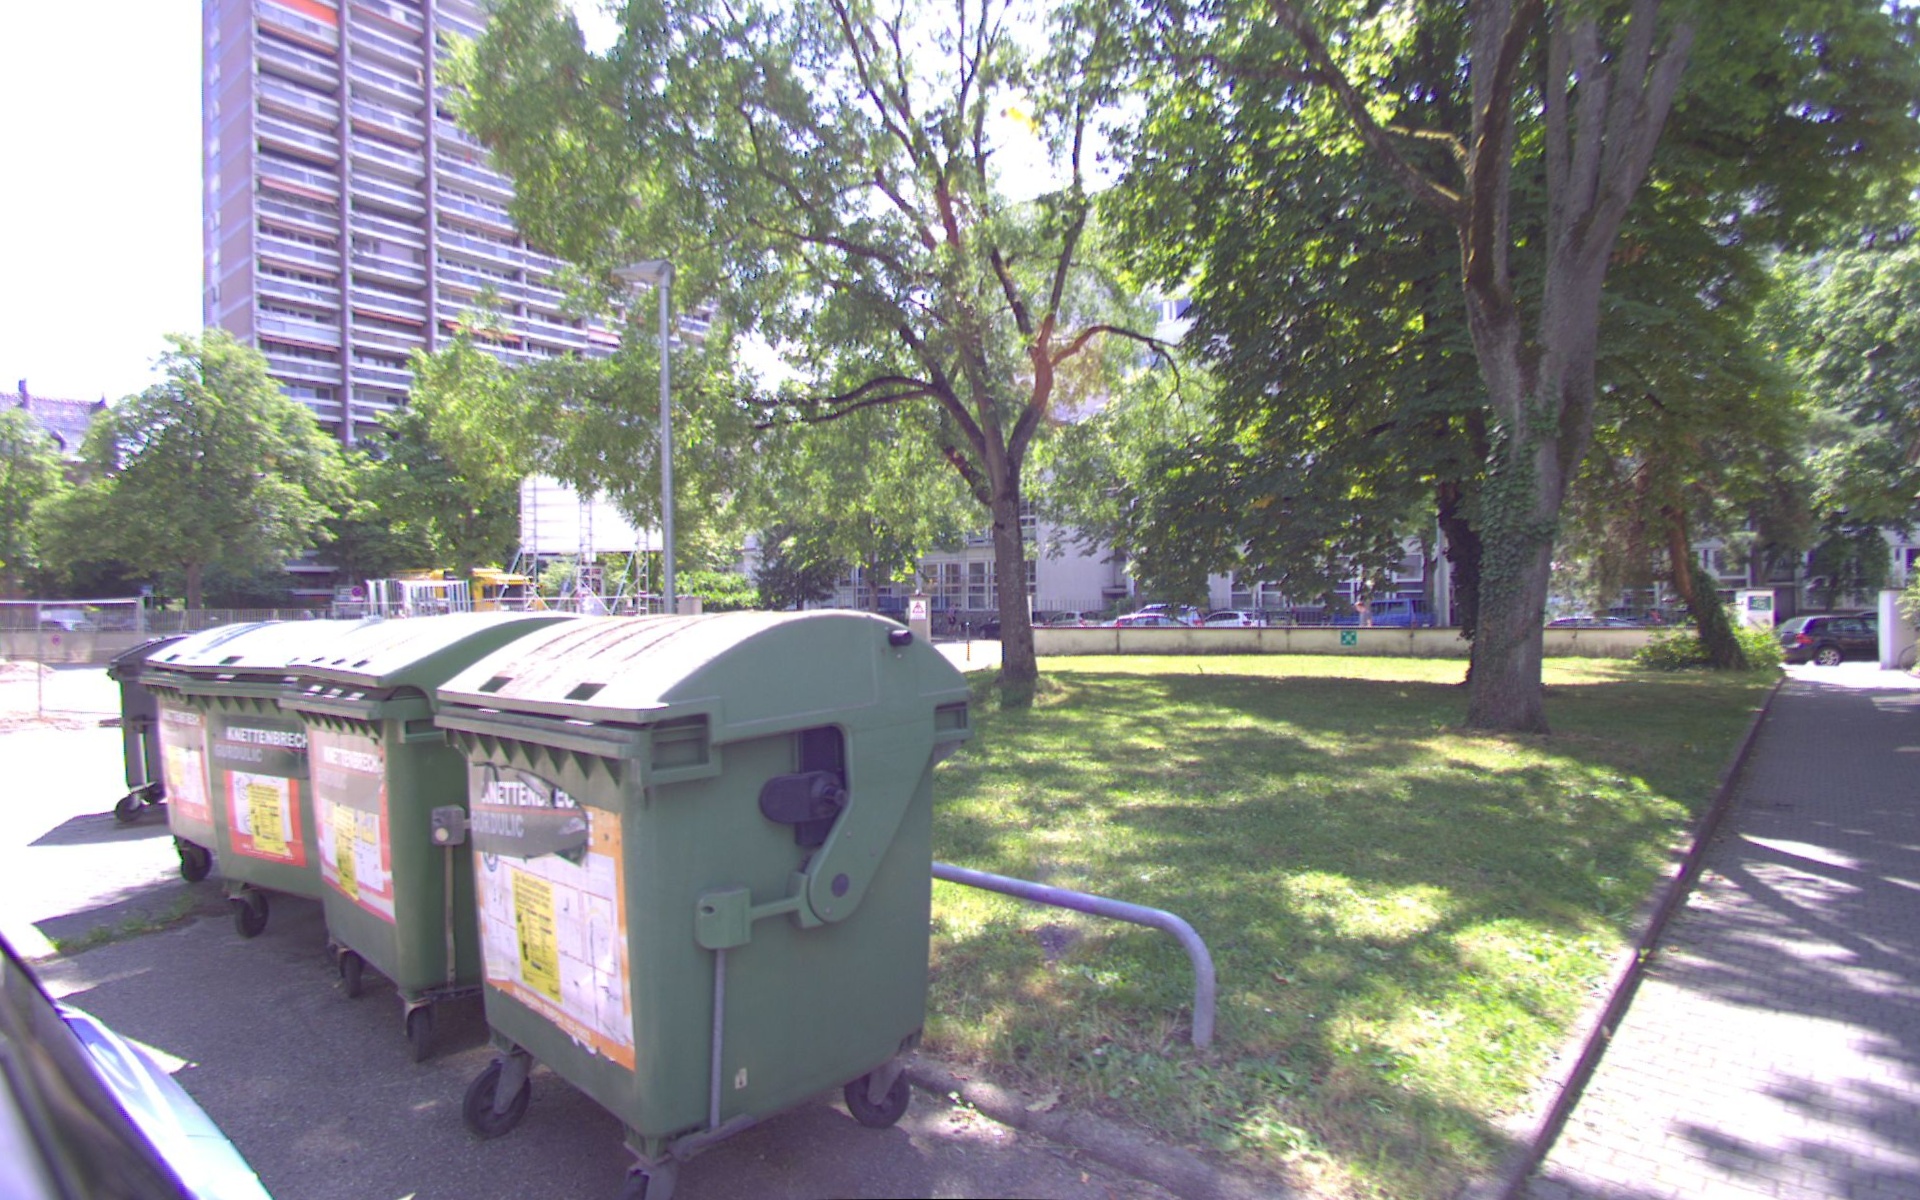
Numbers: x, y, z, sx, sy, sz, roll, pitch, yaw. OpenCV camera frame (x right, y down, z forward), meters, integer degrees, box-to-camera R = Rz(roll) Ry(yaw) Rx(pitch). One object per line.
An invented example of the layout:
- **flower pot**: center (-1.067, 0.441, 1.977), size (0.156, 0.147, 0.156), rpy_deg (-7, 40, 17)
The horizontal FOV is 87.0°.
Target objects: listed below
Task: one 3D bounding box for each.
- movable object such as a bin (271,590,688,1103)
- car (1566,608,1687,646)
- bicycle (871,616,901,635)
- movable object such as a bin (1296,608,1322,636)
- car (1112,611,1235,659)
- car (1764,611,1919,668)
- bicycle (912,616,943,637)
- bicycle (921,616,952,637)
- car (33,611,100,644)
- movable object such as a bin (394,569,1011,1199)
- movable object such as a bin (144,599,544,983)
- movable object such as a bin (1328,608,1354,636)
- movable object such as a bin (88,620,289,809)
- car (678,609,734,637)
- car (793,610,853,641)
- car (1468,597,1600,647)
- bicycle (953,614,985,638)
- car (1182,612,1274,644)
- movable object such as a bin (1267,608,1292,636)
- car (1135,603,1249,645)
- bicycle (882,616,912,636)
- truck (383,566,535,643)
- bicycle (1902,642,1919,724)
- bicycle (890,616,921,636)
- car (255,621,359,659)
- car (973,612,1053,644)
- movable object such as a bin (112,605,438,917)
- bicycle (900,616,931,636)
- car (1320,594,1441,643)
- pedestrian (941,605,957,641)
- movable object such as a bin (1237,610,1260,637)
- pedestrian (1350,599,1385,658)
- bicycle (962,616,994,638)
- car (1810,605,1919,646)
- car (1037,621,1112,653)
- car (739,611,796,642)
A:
- **movable object such as a bin**: center (-1.802, 0.728, 3.770), size (1.262, 1.490, 1.032), rpy_deg (-1, -1, 44)
- **car**: center (27.988, 1.105, 42.633), size (1.642, 1.497, 4.013), rpy_deg (0, -1, -21)
- **bicycle**: center (-4.331, 1.496, 59.583), size (0.568, 1.139, 1.901), rpy_deg (-1, -1, 41)
- **movable object such as a bin**: center (17.556, 1.121, 50.930), size (1.173, 1.409, 1.030), rpy_deg (-1, -1, 21)
- **car**: center (6.689, 1.119, 31.971), size (3.685, 1.468, 1.584), rpy_deg (0, -3, 10)
- **car**: center (24.409, 1.052, 27.296), size (3.739, 1.455, 1.942), rpy_deg (-1, -1, 16)
- **bicycle**: center (-1.854, 1.484, 57.432), size (0.569, 1.139, 1.915), rpy_deg (-1, -1, 44)
- **bicycle**: center (-1.313, 1.466, 56.855), size (0.569, 1.139, 1.915), rpy_deg (-1, -1, 44)
- **car**: center (-56.837, 1.715, 64.468), size (1.965, 2.029, 4.013), rpy_deg (-1, 0, -21)
- **movable object such as a bin**: center (-0.733, 0.699, 2.772), size (1.409, 1.490, 1.033), rpy_deg (-1, -1, 42)
- **movable object such as a bin**: center (-2.864, 0.756, 4.754), size (1.354, 1.490, 1.086), rpy_deg (-1, -1, 29)
- **movable object such as a bin**: center (19.005, 1.103, 50.474), size (1.173, 1.409, 1.030), rpy_deg (-1, -1, 21)
- **movable object such as a bin**: center (-6.312, 0.876, 8.382), size (1.097, 1.405, 1.164), rpy_deg (0, -1, -25)
- **car**: center (-13.299, 1.205, 52.826), size (1.602, 1.383, 4.034), rpy_deg (0, -1, -33)
- **car**: center (-6.989, 1.288, 51.375), size (1.622, 1.528, 3.586), rpy_deg (0, -1, -33)
- **car**: center (24.609, 0.920, 43.597), size (1.965, 2.029, 4.646), rpy_deg (0, -1, -24)
- **bicycle**: center (0.506, 1.428, 55.981), size (0.569, 1.247, 1.915), rpy_deg (-1, -1, 44)
- **car**: center (12.304, 1.261, 46.721), size (1.686, 1.424, 3.992), rpy_deg (0, -1, -33)
- **movable object such as a bin**: center (16.213, 1.139, 51.347), size (1.173, 1.409, 1.030), rpy_deg (-1, -1, 21)
- **car**: center (9.298, 0.971, 40.865), size (4.352, 1.619, 1.993), rpy_deg (-1, -1, 11)
- **bicycle**: center (-3.681, 1.484, 59.152), size (0.568, 1.139, 1.901), rpy_deg (-1, -1, 41)
- **truck**: center (-28.084, 0.278, 56.537), size (9.706, 4.036, 2.723), rpy_deg (-1, 0, 30)
- **bicycle**: center (11.842, 0.923, 10.987), size (2.253, 0.897, 0.648), rpy_deg (-1, -1, 34)
- **bicycle**: center (-3.135, 1.488, 58.604), size (0.569, 1.139, 1.900), rpy_deg (-1, -1, 44)
- **car**: center (-25.783, 1.573, 39.980), size (3.553, 1.451, 1.613), rpy_deg (-1, -1, 18)
- **car**: center (2.543, 1.326, 49.394), size (1.724, 1.481, 4.209), rpy_deg (-1, 0, -33)
- **movable object such as a bin**: center (-3.870, 0.783, 5.732), size (1.323, 1.490, 1.192), rpy_deg (-1, -1, 38)
- **bicycle**: center (-2.570, 1.486, 58.112), size (0.569, 1.139, 1.915), rpy_deg (-1, -1, 44)
- **car**: center (18.609, 0.816, 44.997), size (1.966, 2.029, 4.644), rpy_deg (0, -1, -32)
- **pedestrian**: center (-0.580, 1.186, 53.195), size (0.574, 1.889, 0.709), rpy_deg (-1, -1, 27)
- **movable object such as a bin**: center (14.715, 1.188, 51.609), size (1.067, 1.340, 0.966), rpy_deg (-1, -1, 15)
- **pedestrian**: center (11.002, 0.768, 27.334), size (0.736, 1.579, 0.695), rpy_deg (-1, 0, 12)
- **bicycle**: center (1.004, 1.473, 55.549), size (0.569, 1.139, 1.915), rpy_deg (-1, -1, 44)
- **car**: center (37.315, 1.017, 41.026), size (1.721, 1.397, 4.011), rpy_deg (-2, 3, -33)
- **car**: center (5.483, 1.754, 48.687), size (1.724, 1.473, 3.550), rpy_deg (0, -1, -33)
- **car**: center (-9.936, 1.333, 52.036), size (1.788, 1.474, 4.036), rpy_deg (-1, 0, -27)
